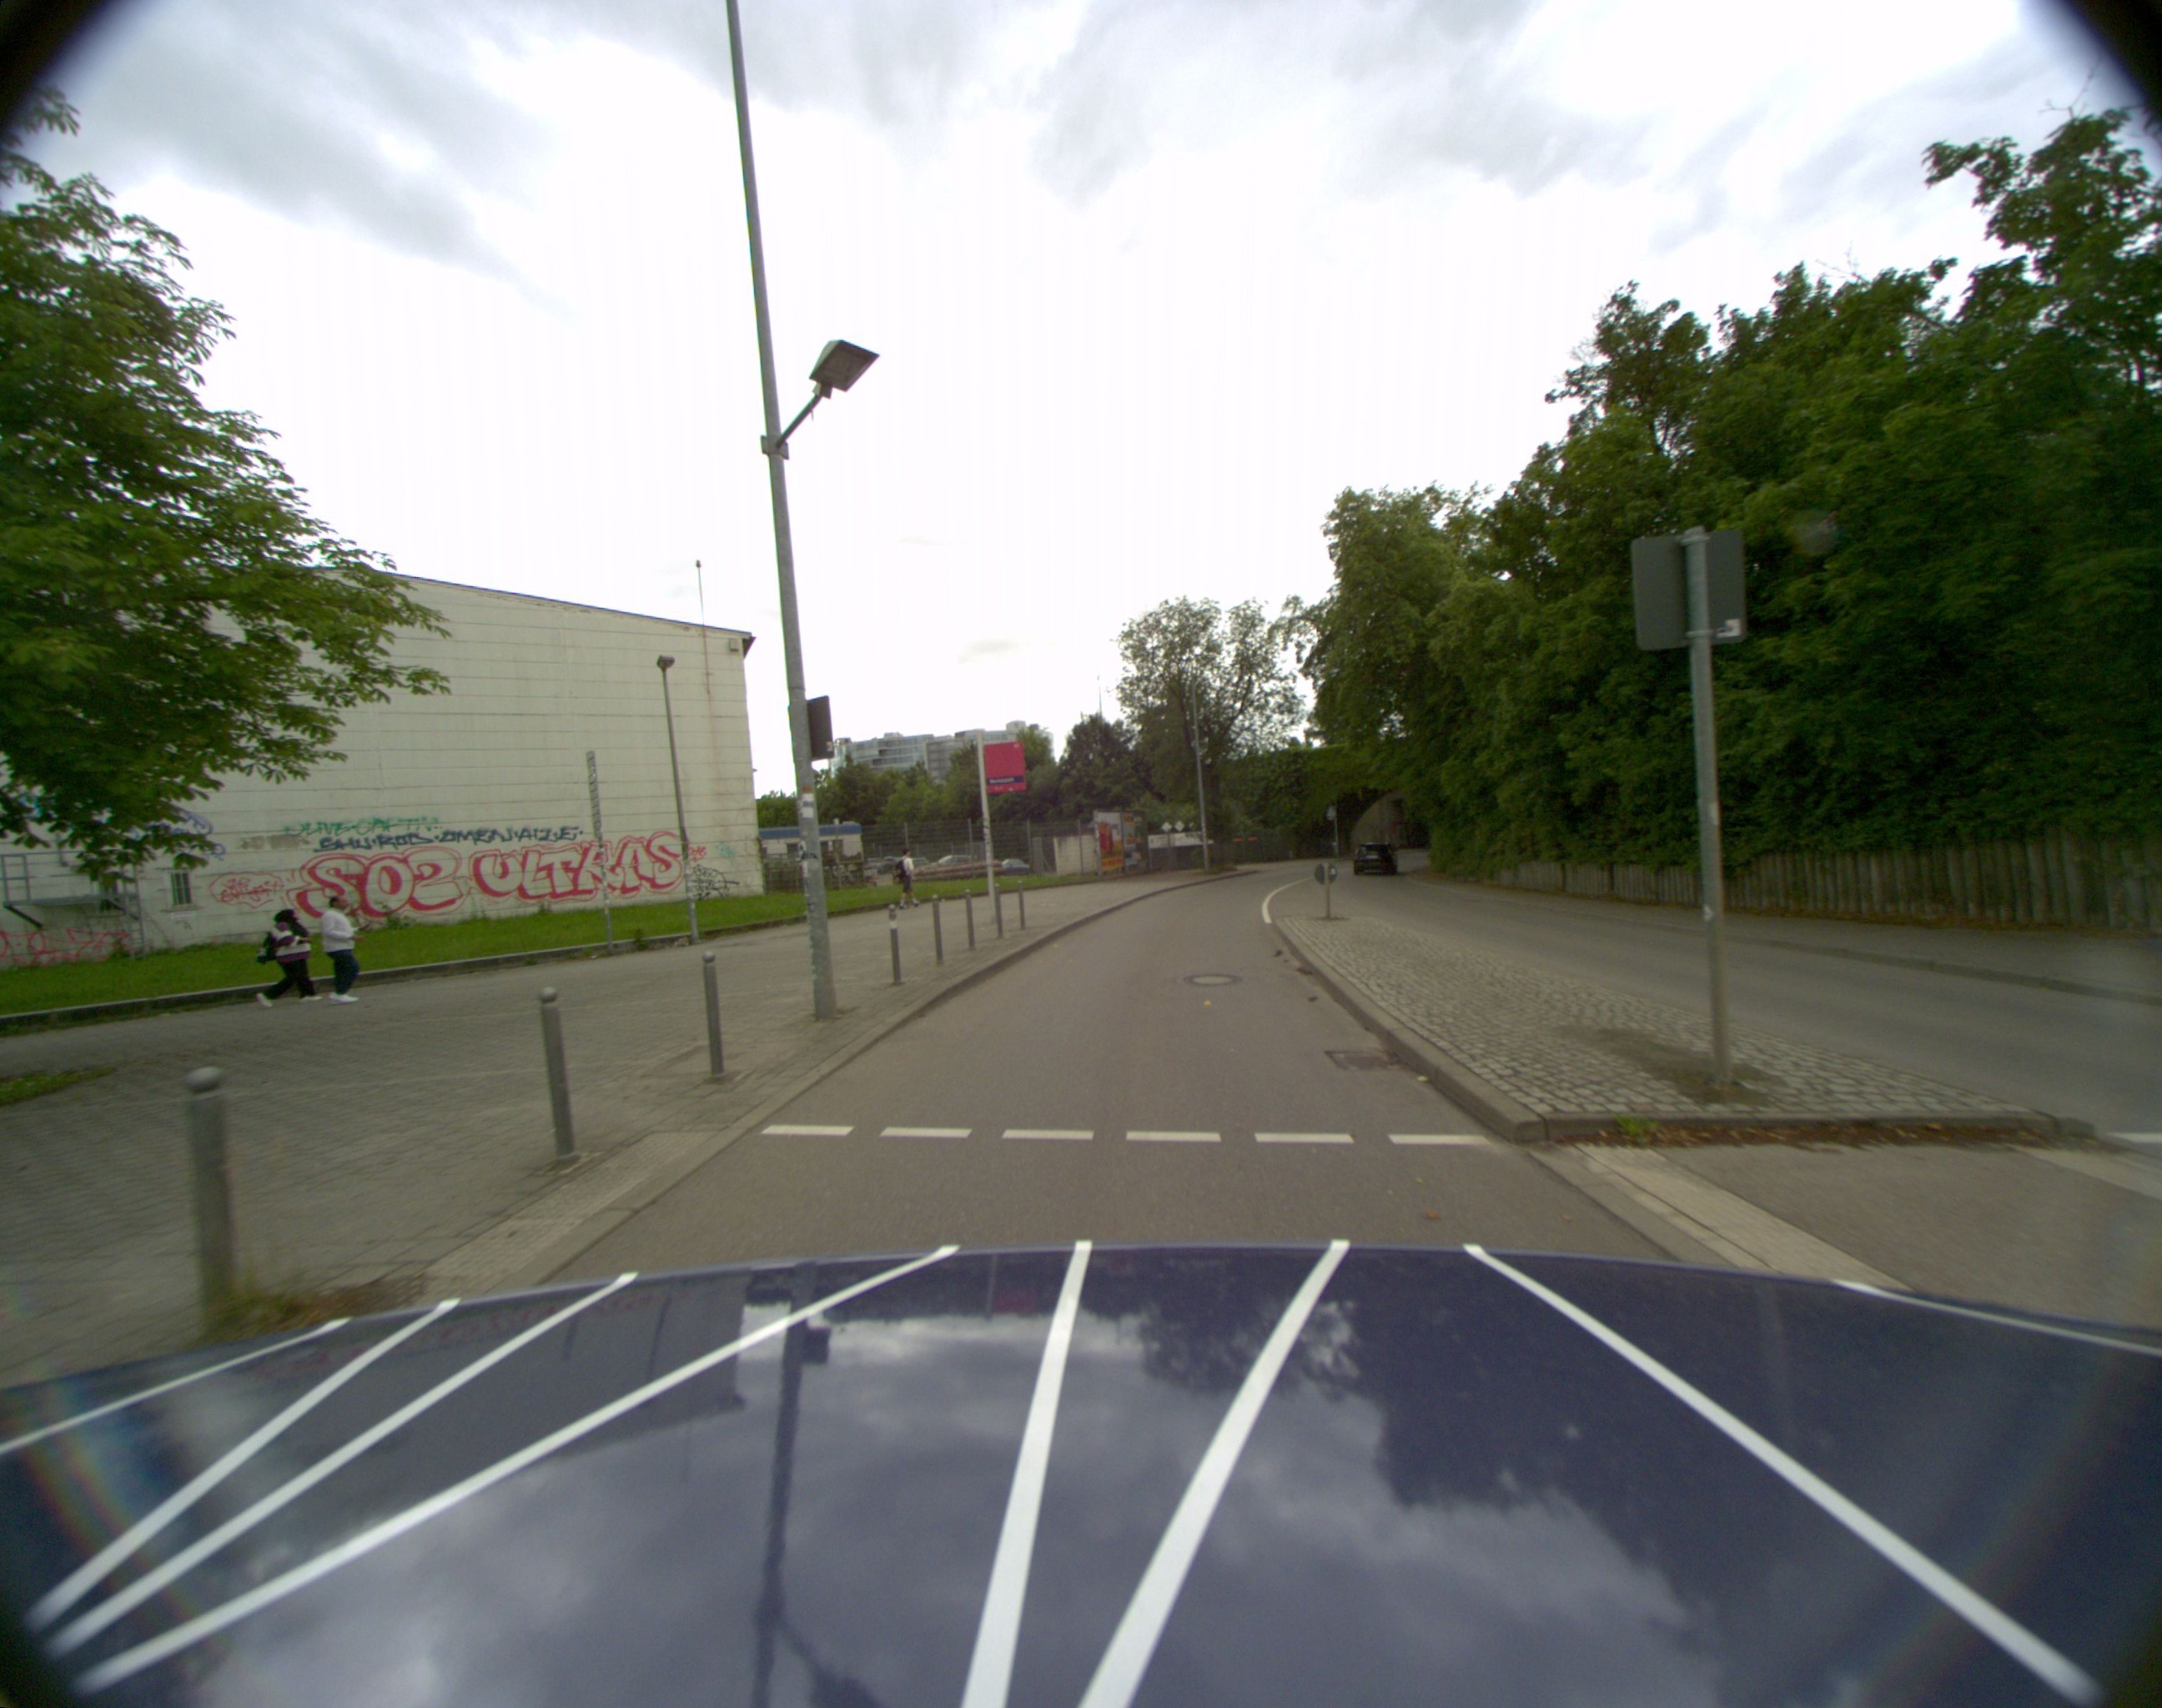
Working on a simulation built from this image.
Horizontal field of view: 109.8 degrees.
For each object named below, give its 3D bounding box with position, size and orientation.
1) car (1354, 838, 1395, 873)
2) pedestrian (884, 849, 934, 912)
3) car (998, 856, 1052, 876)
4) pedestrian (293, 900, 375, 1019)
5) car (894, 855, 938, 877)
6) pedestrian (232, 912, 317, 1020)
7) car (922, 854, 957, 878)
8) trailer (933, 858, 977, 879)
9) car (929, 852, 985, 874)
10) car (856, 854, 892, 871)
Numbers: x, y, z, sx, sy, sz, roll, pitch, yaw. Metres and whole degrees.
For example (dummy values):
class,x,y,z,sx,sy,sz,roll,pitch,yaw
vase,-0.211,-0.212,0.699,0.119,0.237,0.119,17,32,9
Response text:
class,x,y,z,sx,sy,sz,roll,pitch,yaw
car,14.461,0.039,37.460,1.804,1.601,4.182,0,1,21
pedestrian,-4.886,0.741,21.611,0.848,1.675,0.941,-1,4,41
car,-3.762,0.797,51.294,3.376,1.245,1.467,-1,1,-35
pedestrian,-11.752,1.624,11.967,0.814,1.693,0.750,-1,4,45
car,-11.535,0.843,53.002,1.810,1.369,3.789,-5,2,-30
pedestrian,-13.120,1.786,12.391,0.800,1.575,0.803,-1,4,45
car,-9.334,0.787,49.980,1.373,1.432,2.847,-2,0,-30
trailer,-7.903,0.898,47.637,1.852,1.131,2.633,-4,1,-31
car,-9.303,0.642,56.970,3.818,1.523,1.561,-1,1,-35
car,-17.285,0.737,63.400,1.533,1.324,3.673,-2,1,-40
